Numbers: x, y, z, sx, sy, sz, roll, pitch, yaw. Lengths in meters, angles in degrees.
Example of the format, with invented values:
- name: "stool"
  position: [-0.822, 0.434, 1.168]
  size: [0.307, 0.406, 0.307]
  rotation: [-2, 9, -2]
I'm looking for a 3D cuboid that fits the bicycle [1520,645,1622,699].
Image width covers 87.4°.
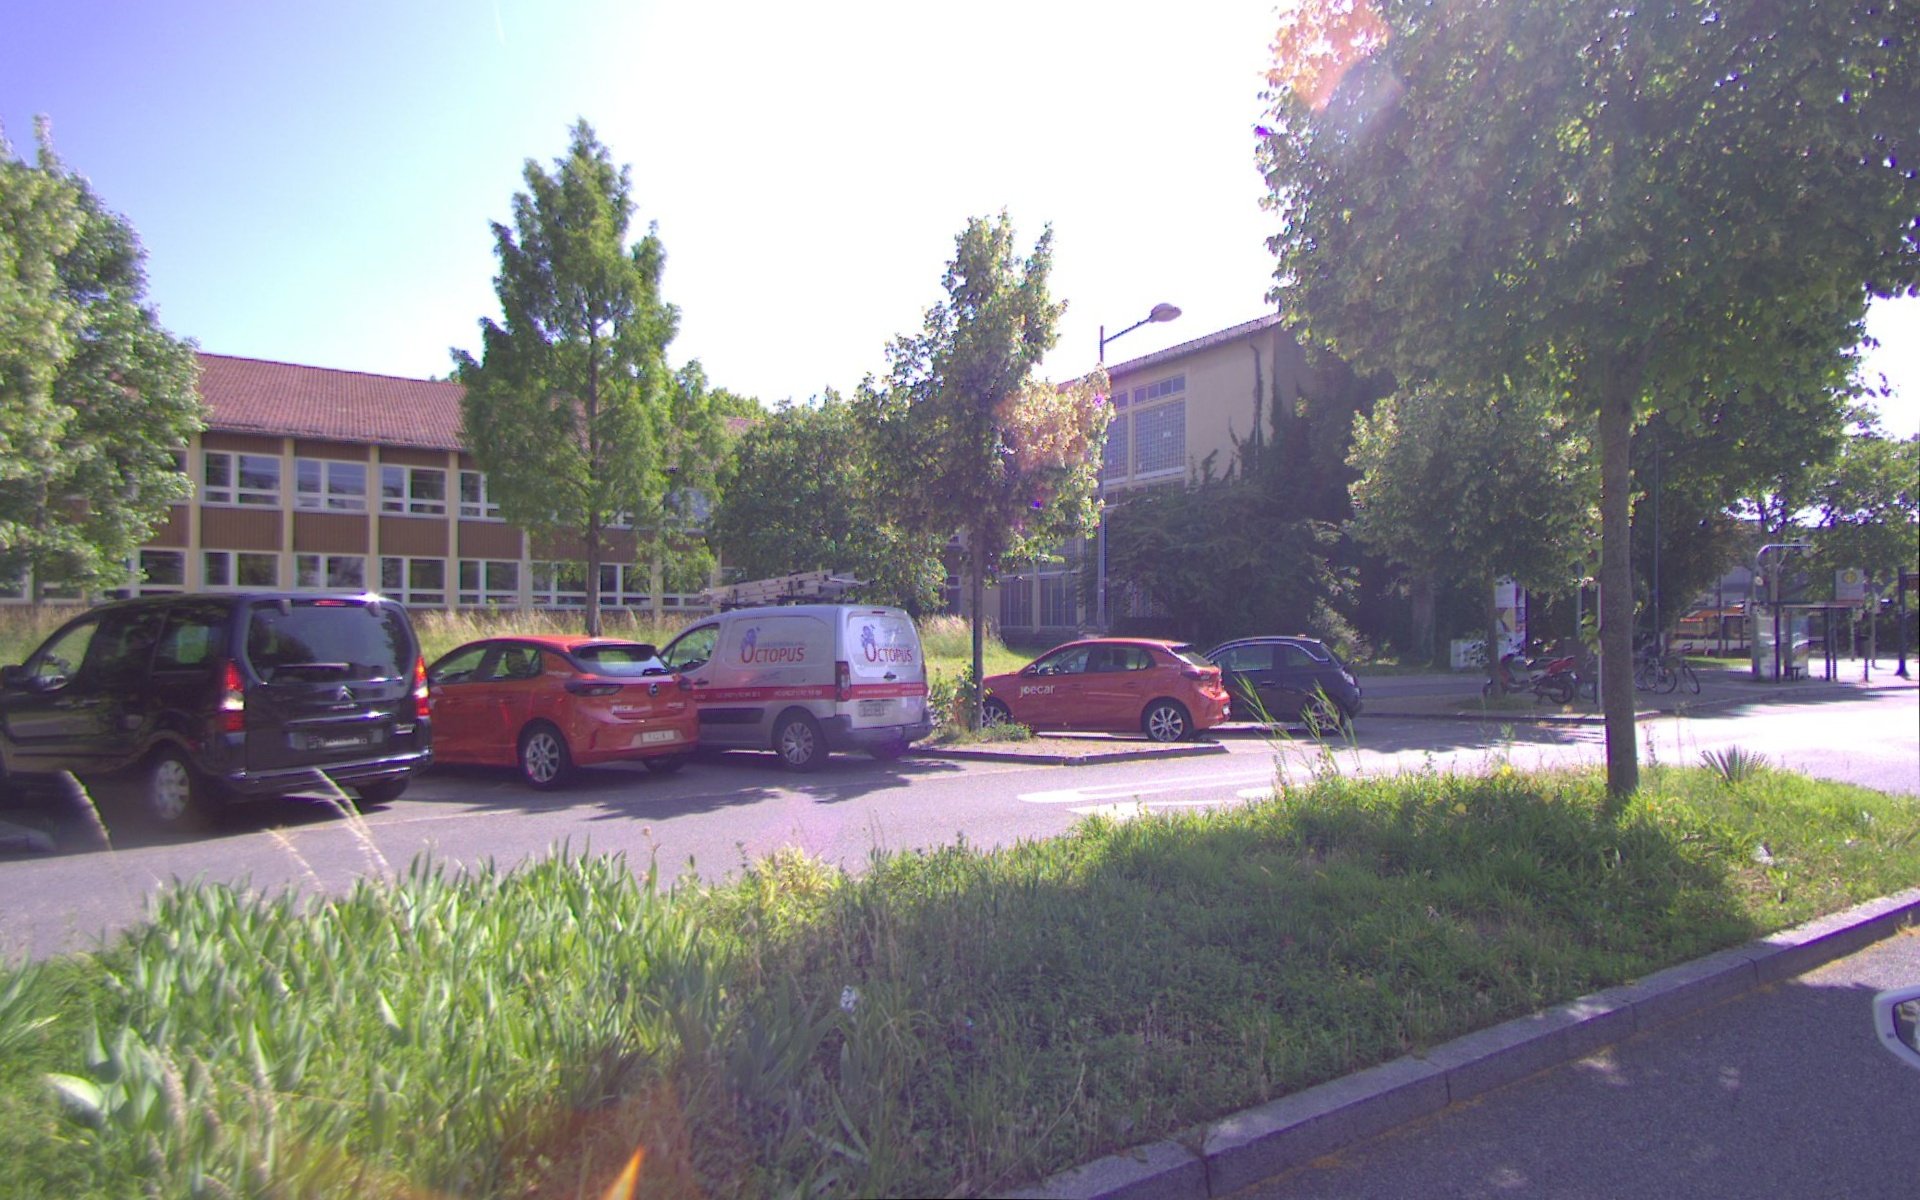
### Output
- name: "bicycle"
  position: [13.458, 1.560, 22.169]
  size: [0.684, 1.106, 1.837]
  rotation: [1, -1, -29]

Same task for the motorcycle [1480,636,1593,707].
- name: "motorcycle"
  position: [11.386, 1.380, 19.885]
  size: [0.686, 1.301, 1.832]
  rotation: [1, -1, -36]

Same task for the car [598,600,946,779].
- name: "car"
  position: [-2.221, 0.932, 11.794]
  size: [3.706, 1.795, 1.816]
  rotation: [0, -2, 29]

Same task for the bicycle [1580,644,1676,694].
- name: "bicycle"
  position: [16.147, 1.639, 24.336]
  size: [0.684, 1.121, 1.837]
  rotation: [1, -1, -29]

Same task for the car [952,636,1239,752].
- name: "car"
  position: [1.947, 1.258, 14.452]
  size: [3.769, 1.442, 1.714]
  rotation: [0, -2, 24]

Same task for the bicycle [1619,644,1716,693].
- name: "bicycle"
  position: [17.410, 1.662, 24.756]
  size: [0.684, 1.137, 1.837]
  rotation: [1, -1, -29]

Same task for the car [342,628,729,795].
- name: "car"
  position: [-4.453, 1.040, 10.495]
  size: [3.706, 1.446, 1.853]
  rotation: [-1, -2, 29]

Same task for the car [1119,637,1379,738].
- name: "car"
  position: [4.523, 1.322, 15.811]
  size: [3.700, 1.442, 1.856]
  rotation: [-1, -3, 20]

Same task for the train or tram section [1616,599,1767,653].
- name: "train or tram section"
  position: [48.231, 1.712, 66.512]
  size: [3.084, 3.376, 7.517]
  rotation: [1, -2, -31]

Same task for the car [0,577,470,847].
- name: "car"
  position: [-6.527, 0.824, 8.581]
  size: [4.108, 1.840, 2.004]
  rotation: [-1, -1, 22]
